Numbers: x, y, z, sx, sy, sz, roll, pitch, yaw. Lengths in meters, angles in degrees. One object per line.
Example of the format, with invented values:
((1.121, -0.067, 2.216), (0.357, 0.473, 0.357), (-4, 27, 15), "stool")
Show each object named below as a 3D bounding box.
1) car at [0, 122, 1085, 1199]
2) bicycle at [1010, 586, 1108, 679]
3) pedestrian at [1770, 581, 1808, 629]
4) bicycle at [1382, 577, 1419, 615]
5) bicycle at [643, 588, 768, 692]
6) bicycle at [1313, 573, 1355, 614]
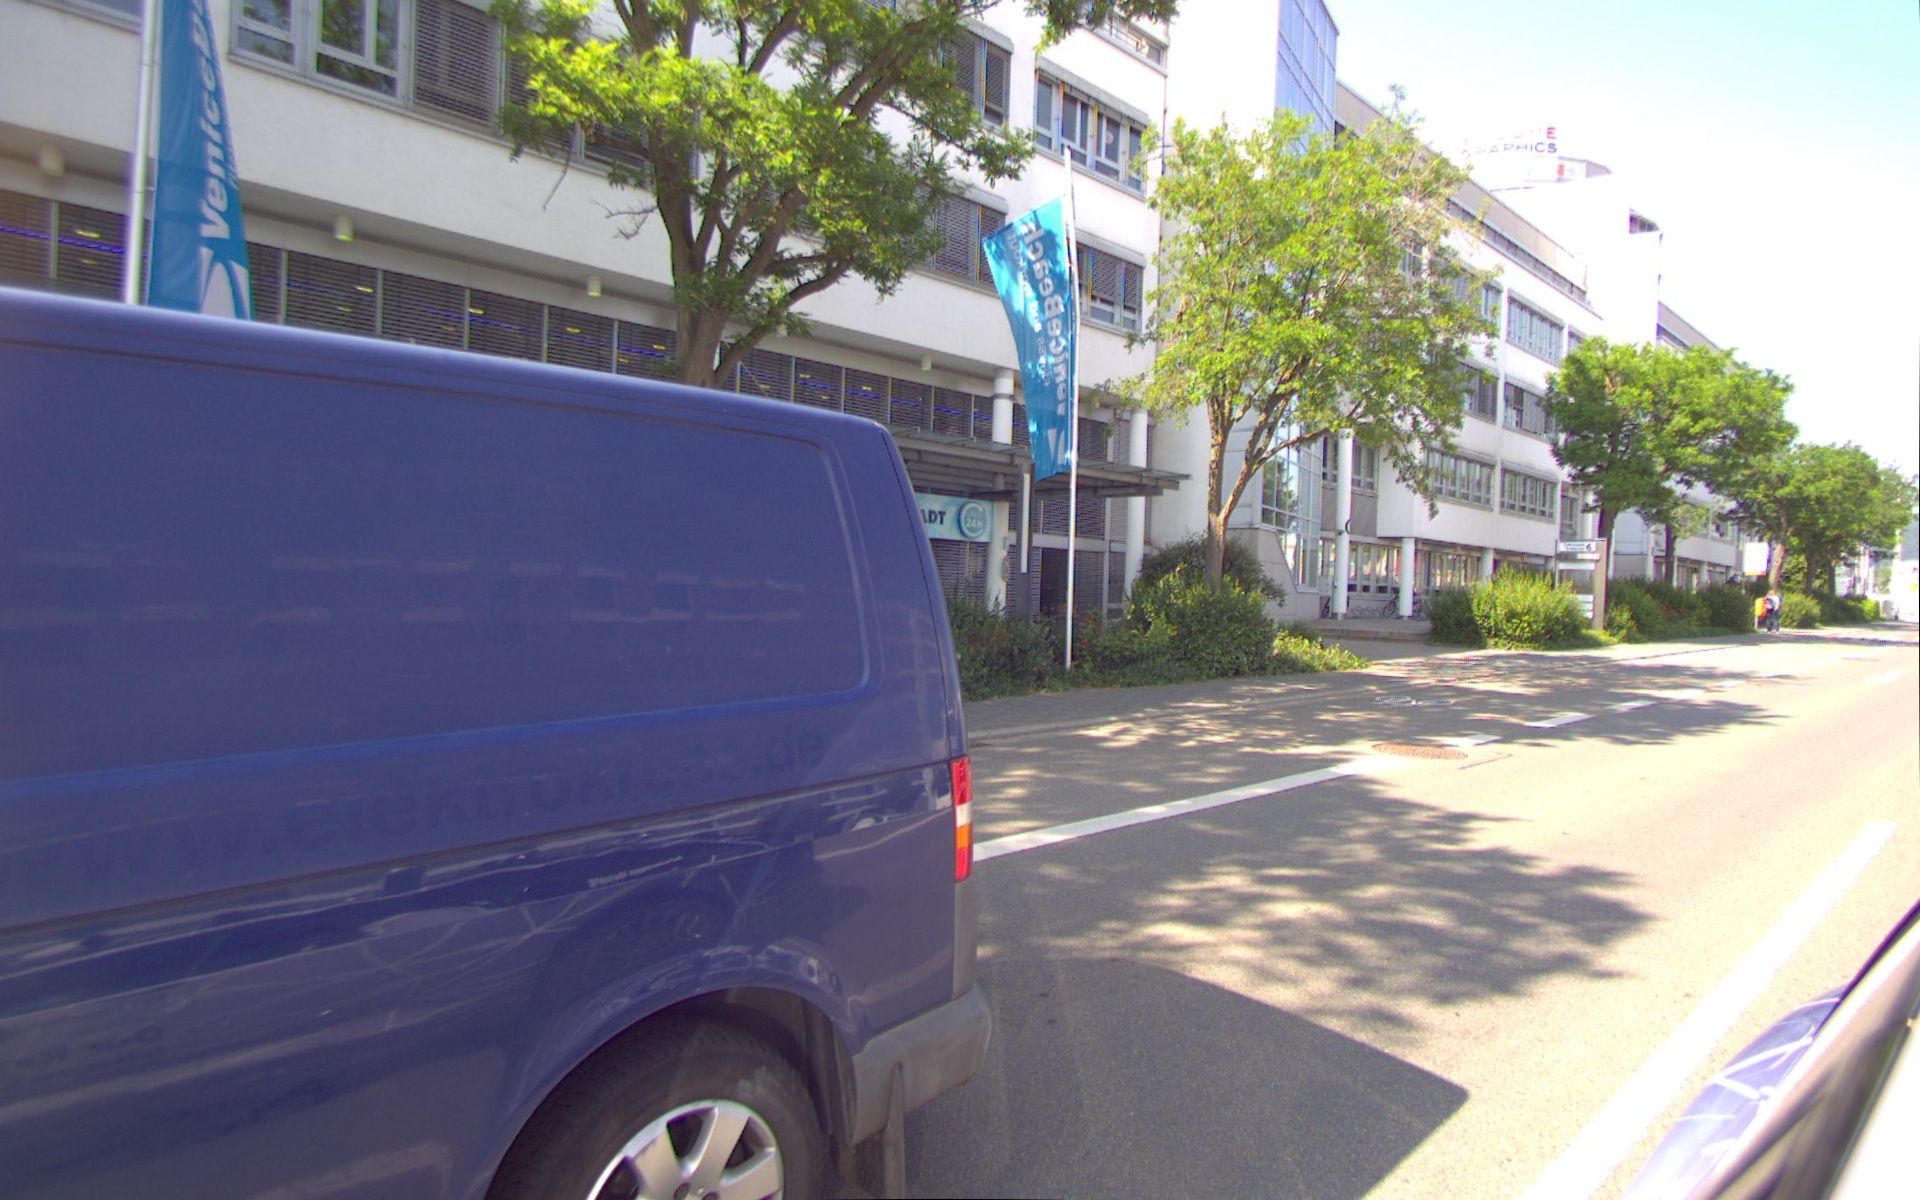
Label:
((-2.165, 0.407, 1.605), (4.806, 1.972, 1.997), (-1, 2, -41), "car")
((1.560, 0.476, 15.679), (0.504, 1.346, 1.856), (2, 1, 41), "bicycle")
((35.196, 0.201, 42.949), (1.267, 1.909, 0.942), (0, 4, -41), "pedestrian")
((16.347, -0.147, 37.521), (1.852, 1.371, 0.506), (0, 1, -41), "bicycle")
((-3.631, 0.534, 14.386), (1.868, 1.346, 0.501), (2, 1, 30), "bicycle")
((12.907, -0.216, 34.898), (1.852, 1.371, 0.506), (0, 1, -41), "bicycle")
